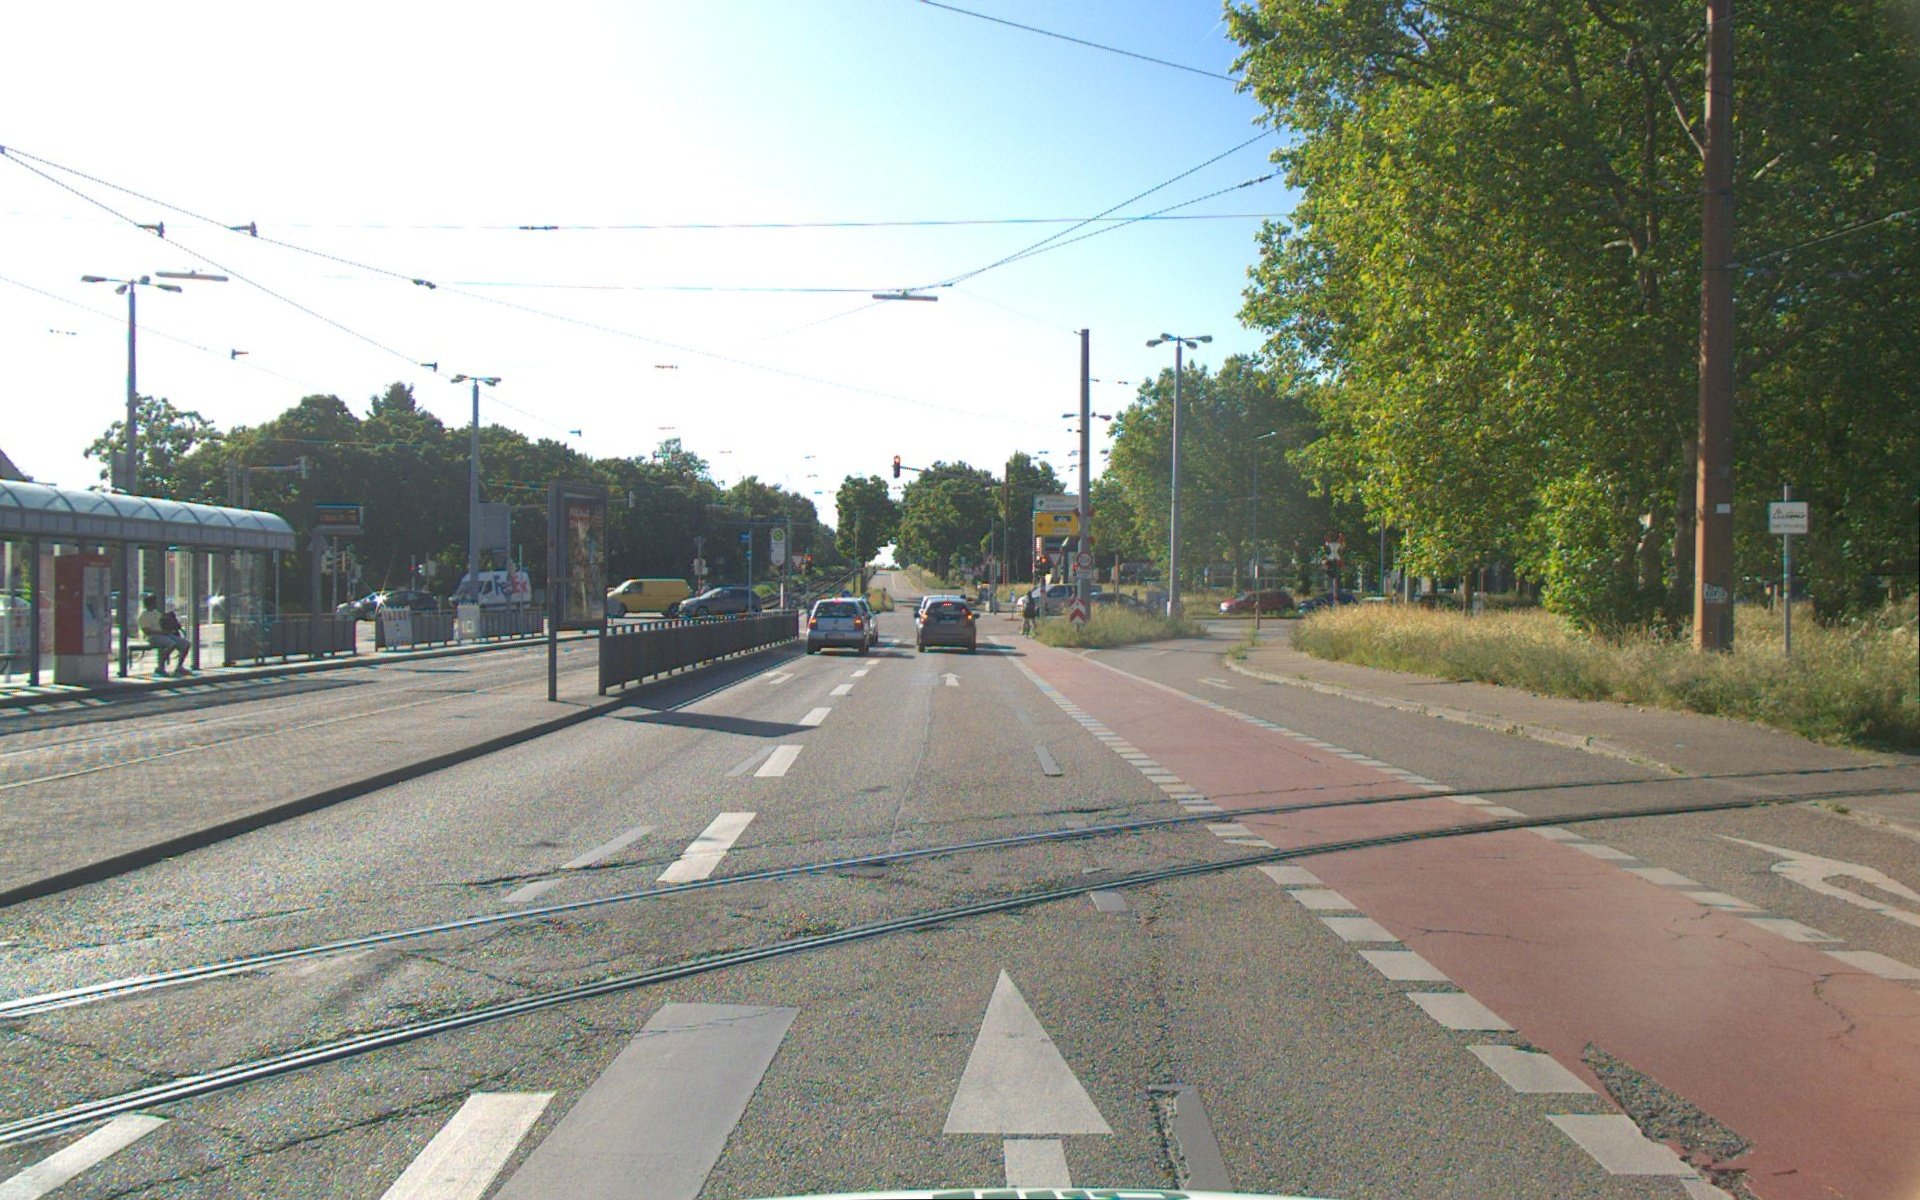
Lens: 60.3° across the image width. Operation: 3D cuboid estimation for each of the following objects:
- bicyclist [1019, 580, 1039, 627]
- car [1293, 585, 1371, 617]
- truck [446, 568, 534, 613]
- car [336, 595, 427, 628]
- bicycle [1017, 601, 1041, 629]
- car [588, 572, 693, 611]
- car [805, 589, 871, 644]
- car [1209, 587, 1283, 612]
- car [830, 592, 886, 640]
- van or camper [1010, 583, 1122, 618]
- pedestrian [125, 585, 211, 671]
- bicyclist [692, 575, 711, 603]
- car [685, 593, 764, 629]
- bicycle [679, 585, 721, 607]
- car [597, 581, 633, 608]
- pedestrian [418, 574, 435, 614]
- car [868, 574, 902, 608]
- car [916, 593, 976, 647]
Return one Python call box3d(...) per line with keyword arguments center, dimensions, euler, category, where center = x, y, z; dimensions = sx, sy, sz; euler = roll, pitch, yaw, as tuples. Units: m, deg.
box3d(center=(2.599, 0.132, 62.091), dimensions=(0.652, 1.746, 0.948), euler=(1, 0, -1), category="bicyclist")
box3d(center=(24.044, 0.080, 106.979), dimensions=(4.624, 1.912, 1.986), euler=(2, 0, -23), category="car")
box3d(center=(-27.969, -0.575, 98.658), dimensions=(1.951, 2.610, 6.829), euler=(0, 1, 13), category="truck")
box3d(center=(-28.161, 0.572, 80.553), dimensions=(3.944, 1.499, 1.734), euler=(2, 0, -30), category="car")
box3d(center=(2.588, 0.545, 62.171), dimensions=(0.707, 1.006, 2.875), euler=(1, 0, -1), category="bicycle")
box3d(center=(-16.790, -0.420, 86.994), dimensions=(5.095, 1.912, 1.982), euler=(2, 0, -28), category="car")
box3d(center=(-3.308, 0.436, 45.228), dimensions=(1.586, 1.442, 3.350), euler=(0, 0, -1), category="car")
box3d(center=(16.408, -0.014, 94.902), dimensions=(3.949, 1.427, 1.598), euler=(0, 0, -23), category="car")
box3d(center=(-3.293, 0.514, 53.817), dimensions=(1.586, 1.482, 4.084), euler=(1, 0, -1), category="car")
box3d(center=(5.760, 0.014, 89.852), dimensions=(5.893, 1.860, 1.984), euler=(0, 0, -26), category="van or camper")
box3d(center=(-13.992, 0.481, 29.248), dimensions=(1.039, 1.478, 1.007), euler=(-1, 0, -1), category="pedestrian")
box3d(center=(-15.260, -0.651, 97.543), dimensions=(0.991, 1.676, 0.813), euler=(0, 0, -18), category="bicyclist")
box3d(center=(-11.990, 0.562, 84.351), dimensions=(3.576, 1.739, 1.732), euler=(2, 0, -33), category="car")
box3d(center=(-15.347, -0.232, 97.511), dimensions=(2.359, 1.285, 0.813), euler=(0, 0, -19), category="bicycle")
box3d(center=(-21.028, -0.352, 100.932), dimensions=(1.797, 1.575, 3.994), euler=(0, 0, -7), category="car")
box3d(center=(-27.924, -0.323, 86.588), dimensions=(0.735, 2.049, 0.789), euler=(0, 0, -12), category="pedestrian")
box3d(center=(-4.812, -0.553, 106.223), dimensions=(1.953, 2.049, 4.491), euler=(1, 0, 0), category="car")
box3d(center=(-0.435, 0.555, 48.139), dimensions=(1.635, 1.487, 3.585), euler=(0, 0, -2), category="car")
